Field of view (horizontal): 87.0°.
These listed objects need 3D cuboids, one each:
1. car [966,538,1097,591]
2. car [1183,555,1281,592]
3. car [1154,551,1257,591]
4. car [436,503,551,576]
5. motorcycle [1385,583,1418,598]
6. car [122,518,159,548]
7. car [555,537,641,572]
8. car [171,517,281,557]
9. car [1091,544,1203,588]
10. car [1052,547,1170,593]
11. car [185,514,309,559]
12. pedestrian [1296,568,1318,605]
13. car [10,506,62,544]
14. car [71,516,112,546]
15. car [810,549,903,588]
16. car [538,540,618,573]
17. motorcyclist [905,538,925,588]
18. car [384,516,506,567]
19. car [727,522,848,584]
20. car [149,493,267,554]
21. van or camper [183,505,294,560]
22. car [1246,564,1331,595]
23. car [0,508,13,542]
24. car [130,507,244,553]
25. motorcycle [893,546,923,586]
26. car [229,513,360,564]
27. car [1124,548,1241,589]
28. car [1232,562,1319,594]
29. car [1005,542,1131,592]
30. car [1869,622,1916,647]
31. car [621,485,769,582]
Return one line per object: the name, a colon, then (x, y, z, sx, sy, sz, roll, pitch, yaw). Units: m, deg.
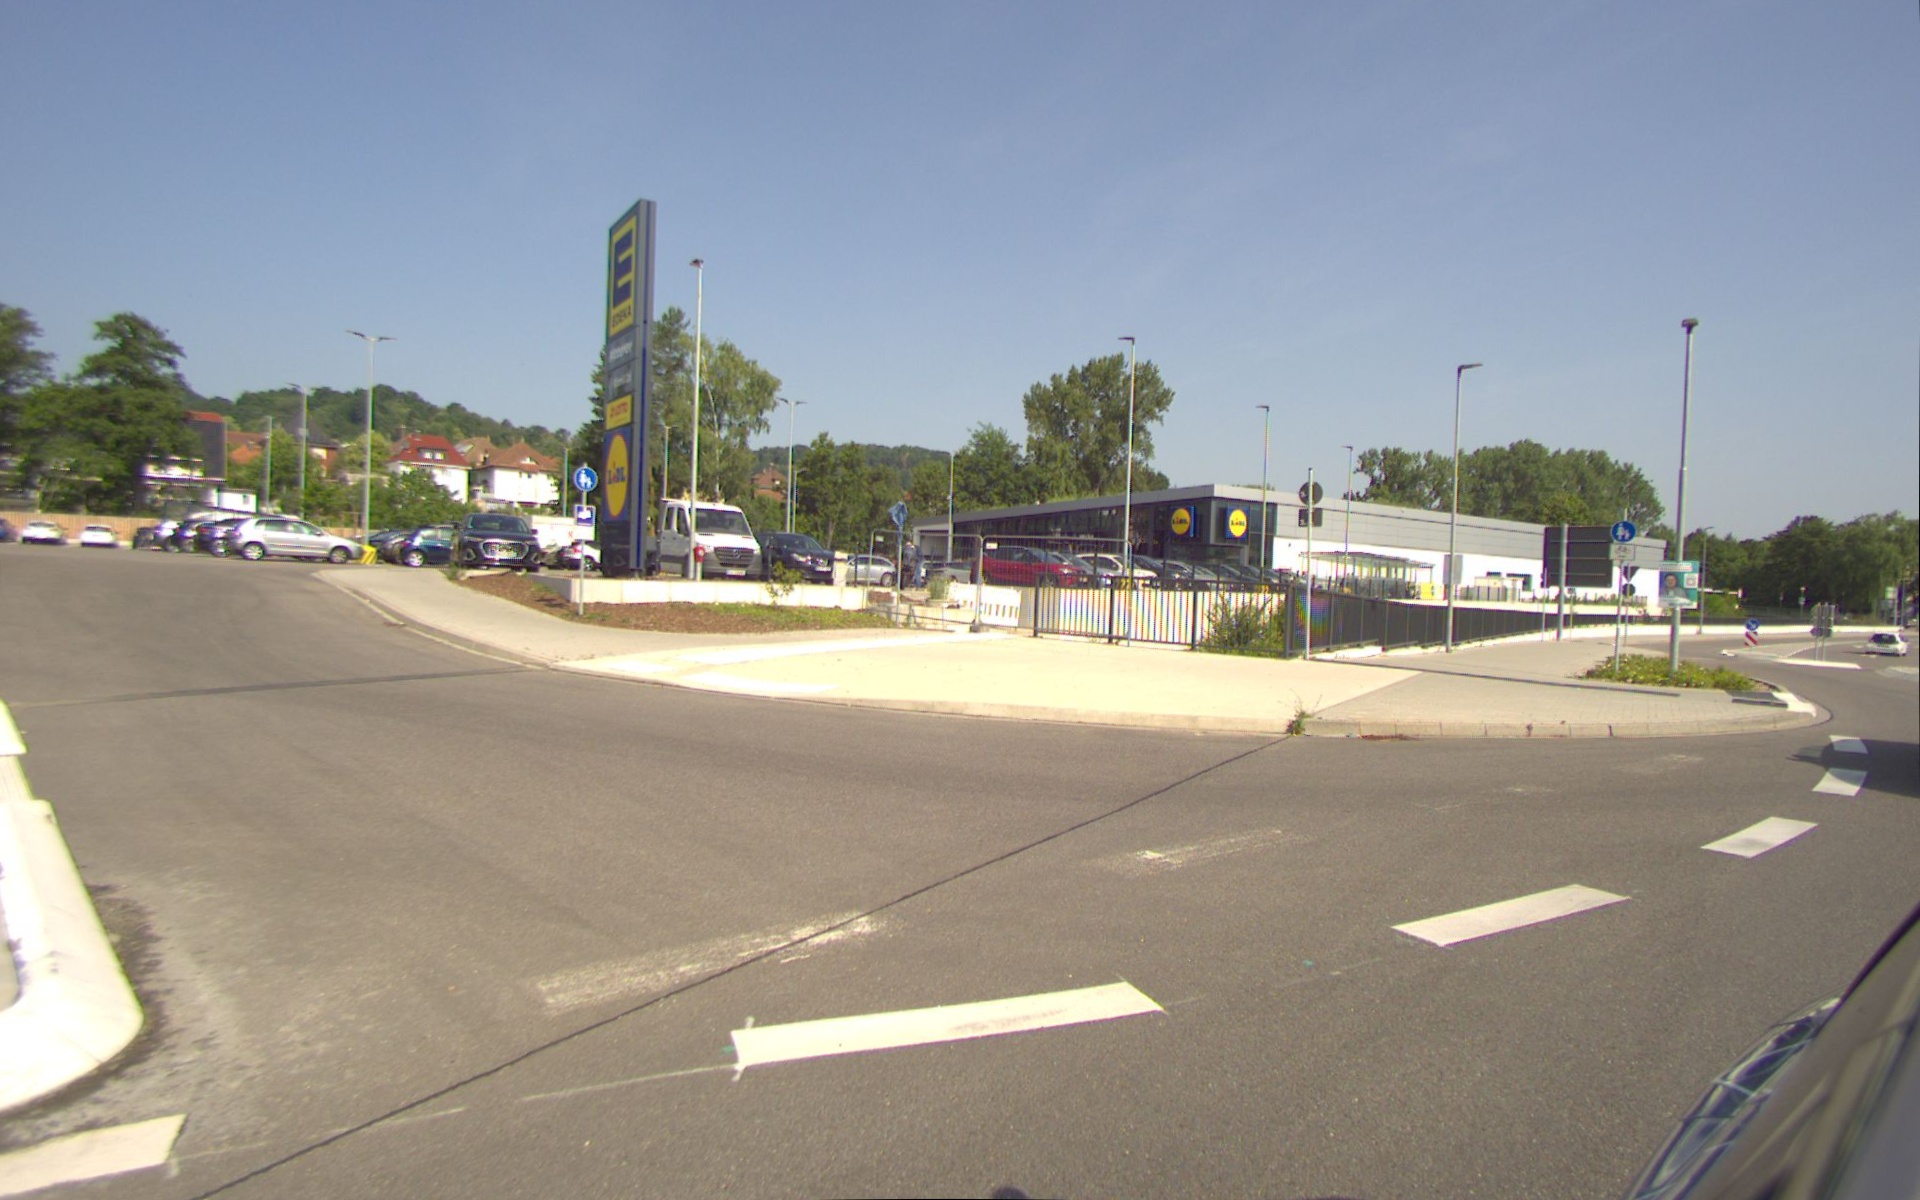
car: (2.308, -1.121, 33.086, 3.998, 1.594, 1.756, 0, -1, 37)
car: (12.363, -1.185, 46.052, 3.972, 1.594, 1.683, 0, -1, 34)
car: (10.539, -1.218, 43.526, 3.972, 1.594, 1.683, 0, -1, 34)
car: (-11.978, -1.446, 25.801, 1.885, 1.550, 4.861, 1, 0, -34)
motorcycle: (27.896, -0.597, 64.015, 1.852, 0.875, 0.623, 1, -1, 17)
car: (-53.347, -4.351, 65.928, 1.703, 1.683, 3.997, 1, -1, -37)
car: (-18.326, -2.271, 51.308, 3.719, 1.594, 1.761, 1, -1, -40)
car: (-31.306, -2.641, 43.240, 1.519, 1.464, 3.577, 0, -1, 41)
car: (7.253, -1.275, 39.459, 3.972, 1.594, 1.683, 0, -1, 34)
car: (5.549, -1.064, 37.243, 3.972, 1.594, 1.683, 0, -1, 34)
car: (-25.235, -2.208, 35.883, 1.520, 1.391, 3.313, 2, 0, 42)
pedestrian: (19.092, -0.731, 55.707, 0.848, 2.039, 0.832, 1, -1, -41)
car: (-57.405, -4.605, 62.939, 1.963, 2.039, 3.997, 1, -1, -37)
car: (-55.517, -4.382, 64.743, 1.703, 1.683, 3.997, 1, -1, -37)
car: (-4.794, -1.438, 47.316, 3.932, 1.638, 1.996, 1, -1, -43)
car: (-20.697, -2.311, 54.867, 3.719, 1.594, 1.761, 1, -1, -40)
motorcyclist: (-1.438, -1.184, 32.613, 0.507, 1.562, 0.580, 0, -1, 13)
car: (-18.929, -2.107, 37.257, 3.719, 1.594, 1.761, 1, -1, -40)
car: (-5.236, -1.342, 30.272, 1.798, 1.622, 4.475, 1, 0, -36)
car: (-37.134, -3.721, 50.030, 4.564, 2.650, 1.997, 1, -1, -40)
van or camper: (-42.831, -3.914, 60.118, 5.192, 2.884, 2.292, 1, -1, -40)
car: (17.776, -1.081, 54.882, 4.102, 1.594, 1.683, 0, -1, 34)
car: (-59.658, -4.635, 62.163, 1.735, 1.839, 3.997, 1, -1, -37)
car: (-39.768, -3.565, 52.098, 4.564, 2.001, 1.997, 1, -1, -40)
motorcycle: (-1.636, -1.047, 31.801, 0.578, 1.206, 1.907, 2, 0, -13)
car: (-22.507, -2.037, 34.281, 3.565, 1.464, 1.524, 1, -1, -39)
car: (9.058, -1.245, 41.359, 4.385, 1.594, 1.683, 0, -1, 34)
car: (16.208, -1.113, 52.011, 3.972, 1.594, 1.683, 0, -1, 34)
car: (3.677, -1.097, 34.869, 3.998, 1.594, 1.756, 0, -1, 37)
car: (56.982, 2.108, 61.868, 1.773, 1.416, 3.944, 0, -1, 38)
car: (-7.765, -1.766, 29.130, 2.022, 2.414, 6.090, 1, -1, -36)
